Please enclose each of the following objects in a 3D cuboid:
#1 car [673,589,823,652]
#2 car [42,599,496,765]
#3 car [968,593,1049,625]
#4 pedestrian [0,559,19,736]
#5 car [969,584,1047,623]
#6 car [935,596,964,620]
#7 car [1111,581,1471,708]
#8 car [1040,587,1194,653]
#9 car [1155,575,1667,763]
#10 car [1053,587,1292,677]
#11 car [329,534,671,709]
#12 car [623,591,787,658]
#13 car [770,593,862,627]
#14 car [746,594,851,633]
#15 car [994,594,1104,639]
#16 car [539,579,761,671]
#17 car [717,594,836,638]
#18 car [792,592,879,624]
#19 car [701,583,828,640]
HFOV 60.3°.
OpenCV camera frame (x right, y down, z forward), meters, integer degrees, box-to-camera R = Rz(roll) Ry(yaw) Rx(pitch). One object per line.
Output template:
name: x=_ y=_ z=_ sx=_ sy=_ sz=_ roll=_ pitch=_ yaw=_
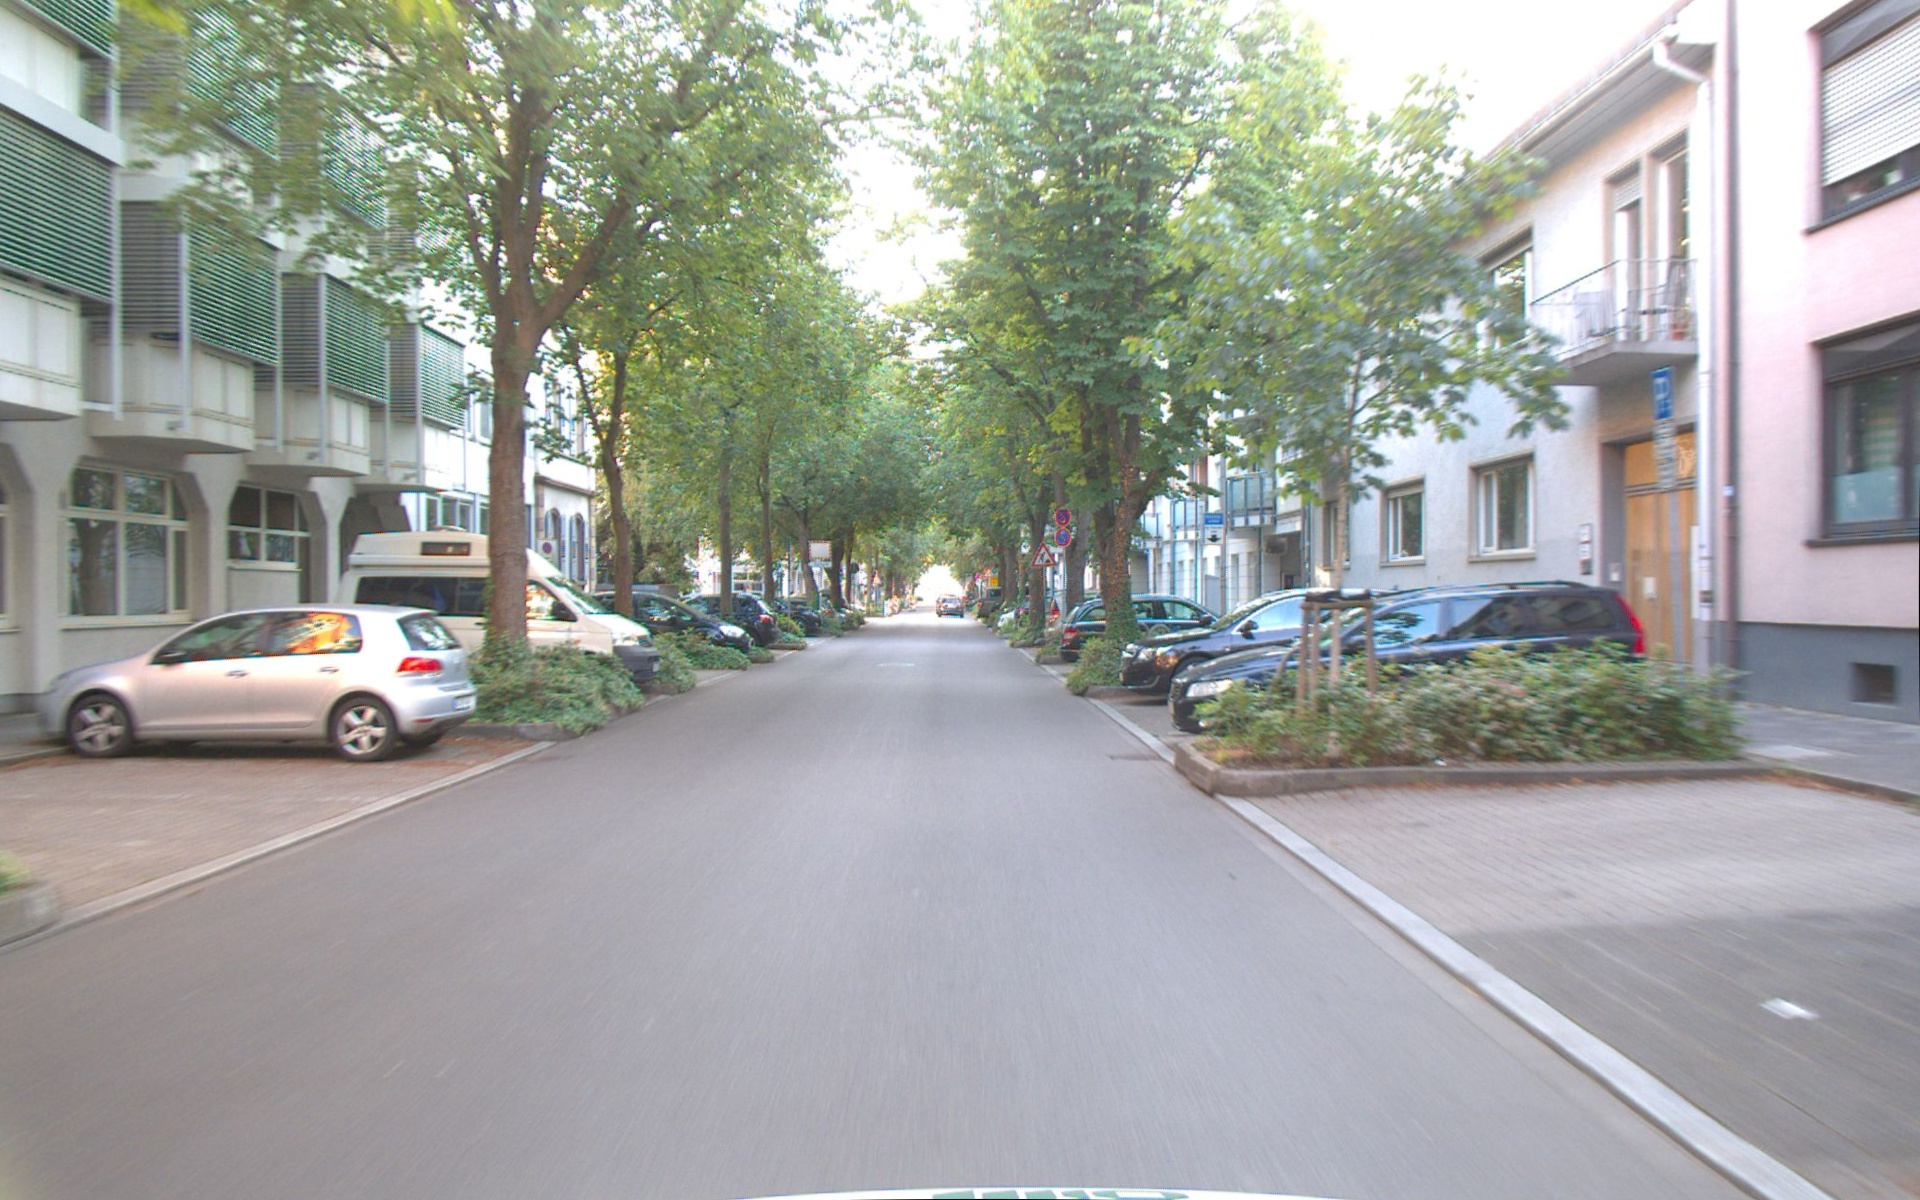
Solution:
car: x=-6.727 y=0.636 z=52.824 sx=4.502 sy=1.839 sz=1.963 roll=-2 pitch=0 yaw=-1
car: x=-6.826 y=0.780 z=16.621 sx=3.791 sy=1.512 sz=1.757 roll=1 pitch=0 yaw=1
car: x=2.571 y=0.471 z=88.271 sx=4.181 sy=1.593 sz=1.963 roll=-2 pitch=0 yaw=-1
pedestrian: x=-9.878 y=0.467 z=16.288 sx=0.689 sy=1.758 sz=0.905 roll=0 pitch=0 yaw=-1
car: x=2.620 y=0.204 z=90.939 sx=4.181 sy=1.996 sz=1.963 roll=-2 pitch=0 yaw=-1
car: x=-0.732 y=0.547 z=115.100 sx=1.917 sy=1.593 sz=4.282 roll=-2 pitch=0 yaw=0
car: x=4.521 y=0.589 z=23.114 sx=4.587 sy=1.548 sz=1.963 roll=-2 pitch=0 yaw=-1
car: x=4.249 y=0.528 z=45.133 sx=3.968 sy=1.625 sz=1.825 roll=-2 pitch=0 yaw=-1
car: x=4.364 y=0.637 z=16.593 sx=4.620 sy=1.740 sz=1.950 roll=0 pitch=1 yaw=1
car: x=4.030 y=0.595 z=32.018 sx=4.414 sy=1.548 sz=1.996 roll=-2 pitch=0 yaw=2
car: x=-6.824 y=0.311 z=24.945 sx=4.587 sy=2.521 sz=2.000 roll=0 pitch=0 yaw=-1
car: x=-6.905 y=0.658 z=45.128 sx=4.117 sy=1.664 sz=1.963 roll=-2 pitch=0 yaw=-1
car: x=-7.582 y=0.520 z=87.673 sx=4.665 sy=1.658 sz=1.963 roll=-2 pitch=0 yaw=-1
car: x=-7.487 y=0.625 z=77.042 sx=4.665 sy=1.658 sz=1.963 roll=-2 pitch=0 yaw=-1
car: x=3.482 y=0.629 z=65.140 sx=4.181 sy=1.593 sz=1.963 roll=-2 pitch=0 yaw=-1
car: x=-6.942 y=0.547 z=37.404 sx=4.587 sy=1.886 sz=1.963 roll=-2 pitch=0 yaw=-1
car: x=-7.567 y=0.657 z=68.586 sx=4.665 sy=1.658 sz=1.963 roll=-2 pitch=0 yaw=-1
car: x=-6.960 y=0.450 z=92.726 sx=4.665 sy=1.658 sz=1.963 roll=-2 pitch=0 yaw=-1
car: x=-7.556 y=0.448 z=64.266 sx=4.665 sy=2.019 sz=1.963 roll=-2 pitch=0 yaw=-1
